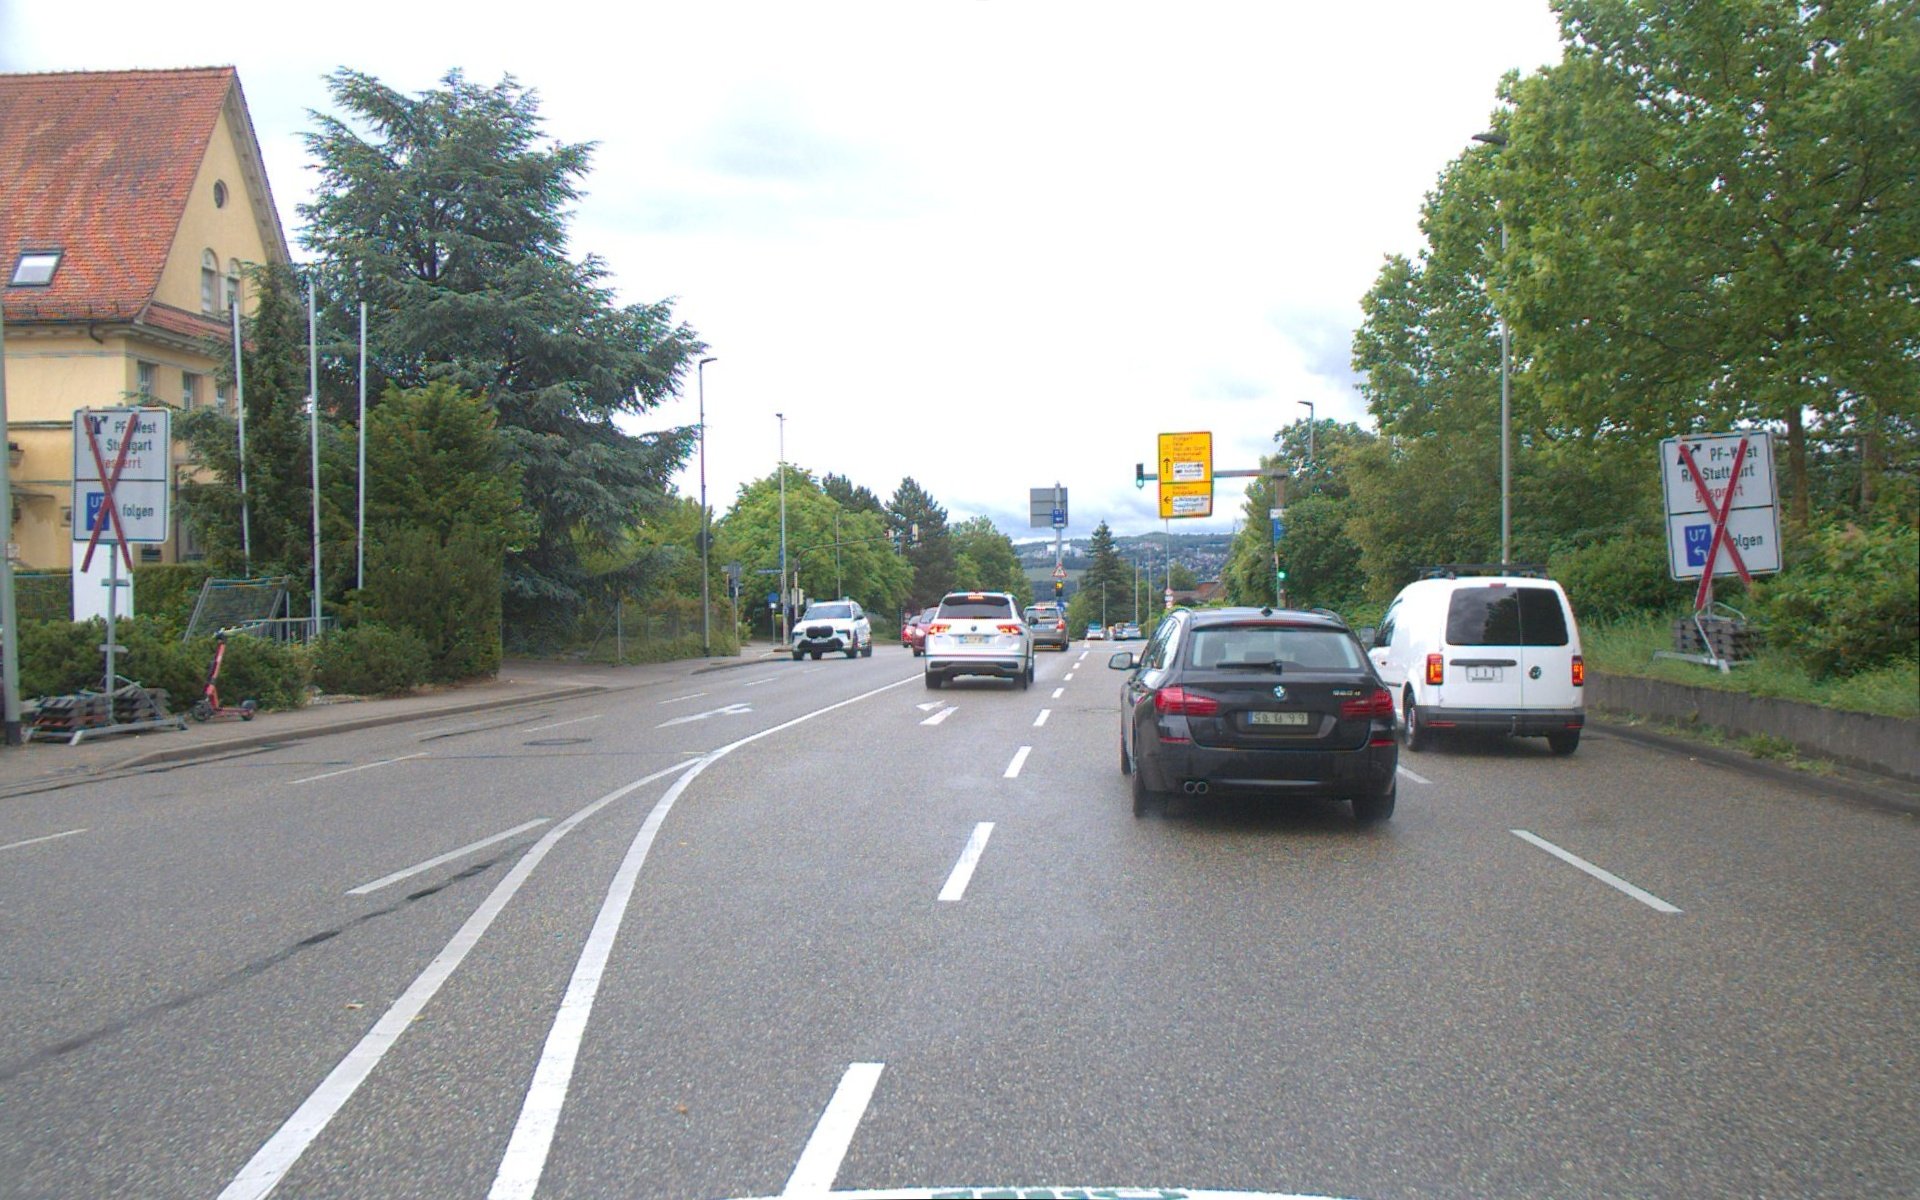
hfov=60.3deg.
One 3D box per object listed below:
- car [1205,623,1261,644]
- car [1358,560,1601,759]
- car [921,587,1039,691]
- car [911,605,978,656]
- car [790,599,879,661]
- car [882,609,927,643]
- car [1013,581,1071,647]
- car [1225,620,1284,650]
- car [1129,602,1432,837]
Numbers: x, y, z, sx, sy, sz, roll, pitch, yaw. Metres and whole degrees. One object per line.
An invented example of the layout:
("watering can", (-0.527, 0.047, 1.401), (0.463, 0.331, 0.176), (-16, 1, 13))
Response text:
("car", (19.450, 2.381, 117.696), (3.902, 1.400, 1.586), (0, 0, 9))
("car", (5.584, 0.540, 18.250), (1.727, 1.910, 3.808), (0, 2, 4))
("car", (0.429, 0.640, 29.943), (1.829, 1.703, 4.003), (0, 1, 5))
("car", (-0.446, 0.904, 51.233), (1.646, 1.444, 3.843), (-3, 0, 5))
("car", (-3.925, 0.912, 52.487), (1.877, 1.793, 5.146), (-3, 0, 5))
("car", (-2.538, 1.183, 76.833), (1.597, 1.482, 3.704), (-3, -1, 5))
("car", (2.787, 0.449, 55.468), (1.772, 2.124, 3.852), (0, 0, 5))
("car", (19.951, 2.361, 112.262), (3.902, 1.991, 1.586), (0, -1, 9))
("car", (2.248, 0.759, 12.569), (1.859, 1.467, 4.002), (1, 0, 5))
